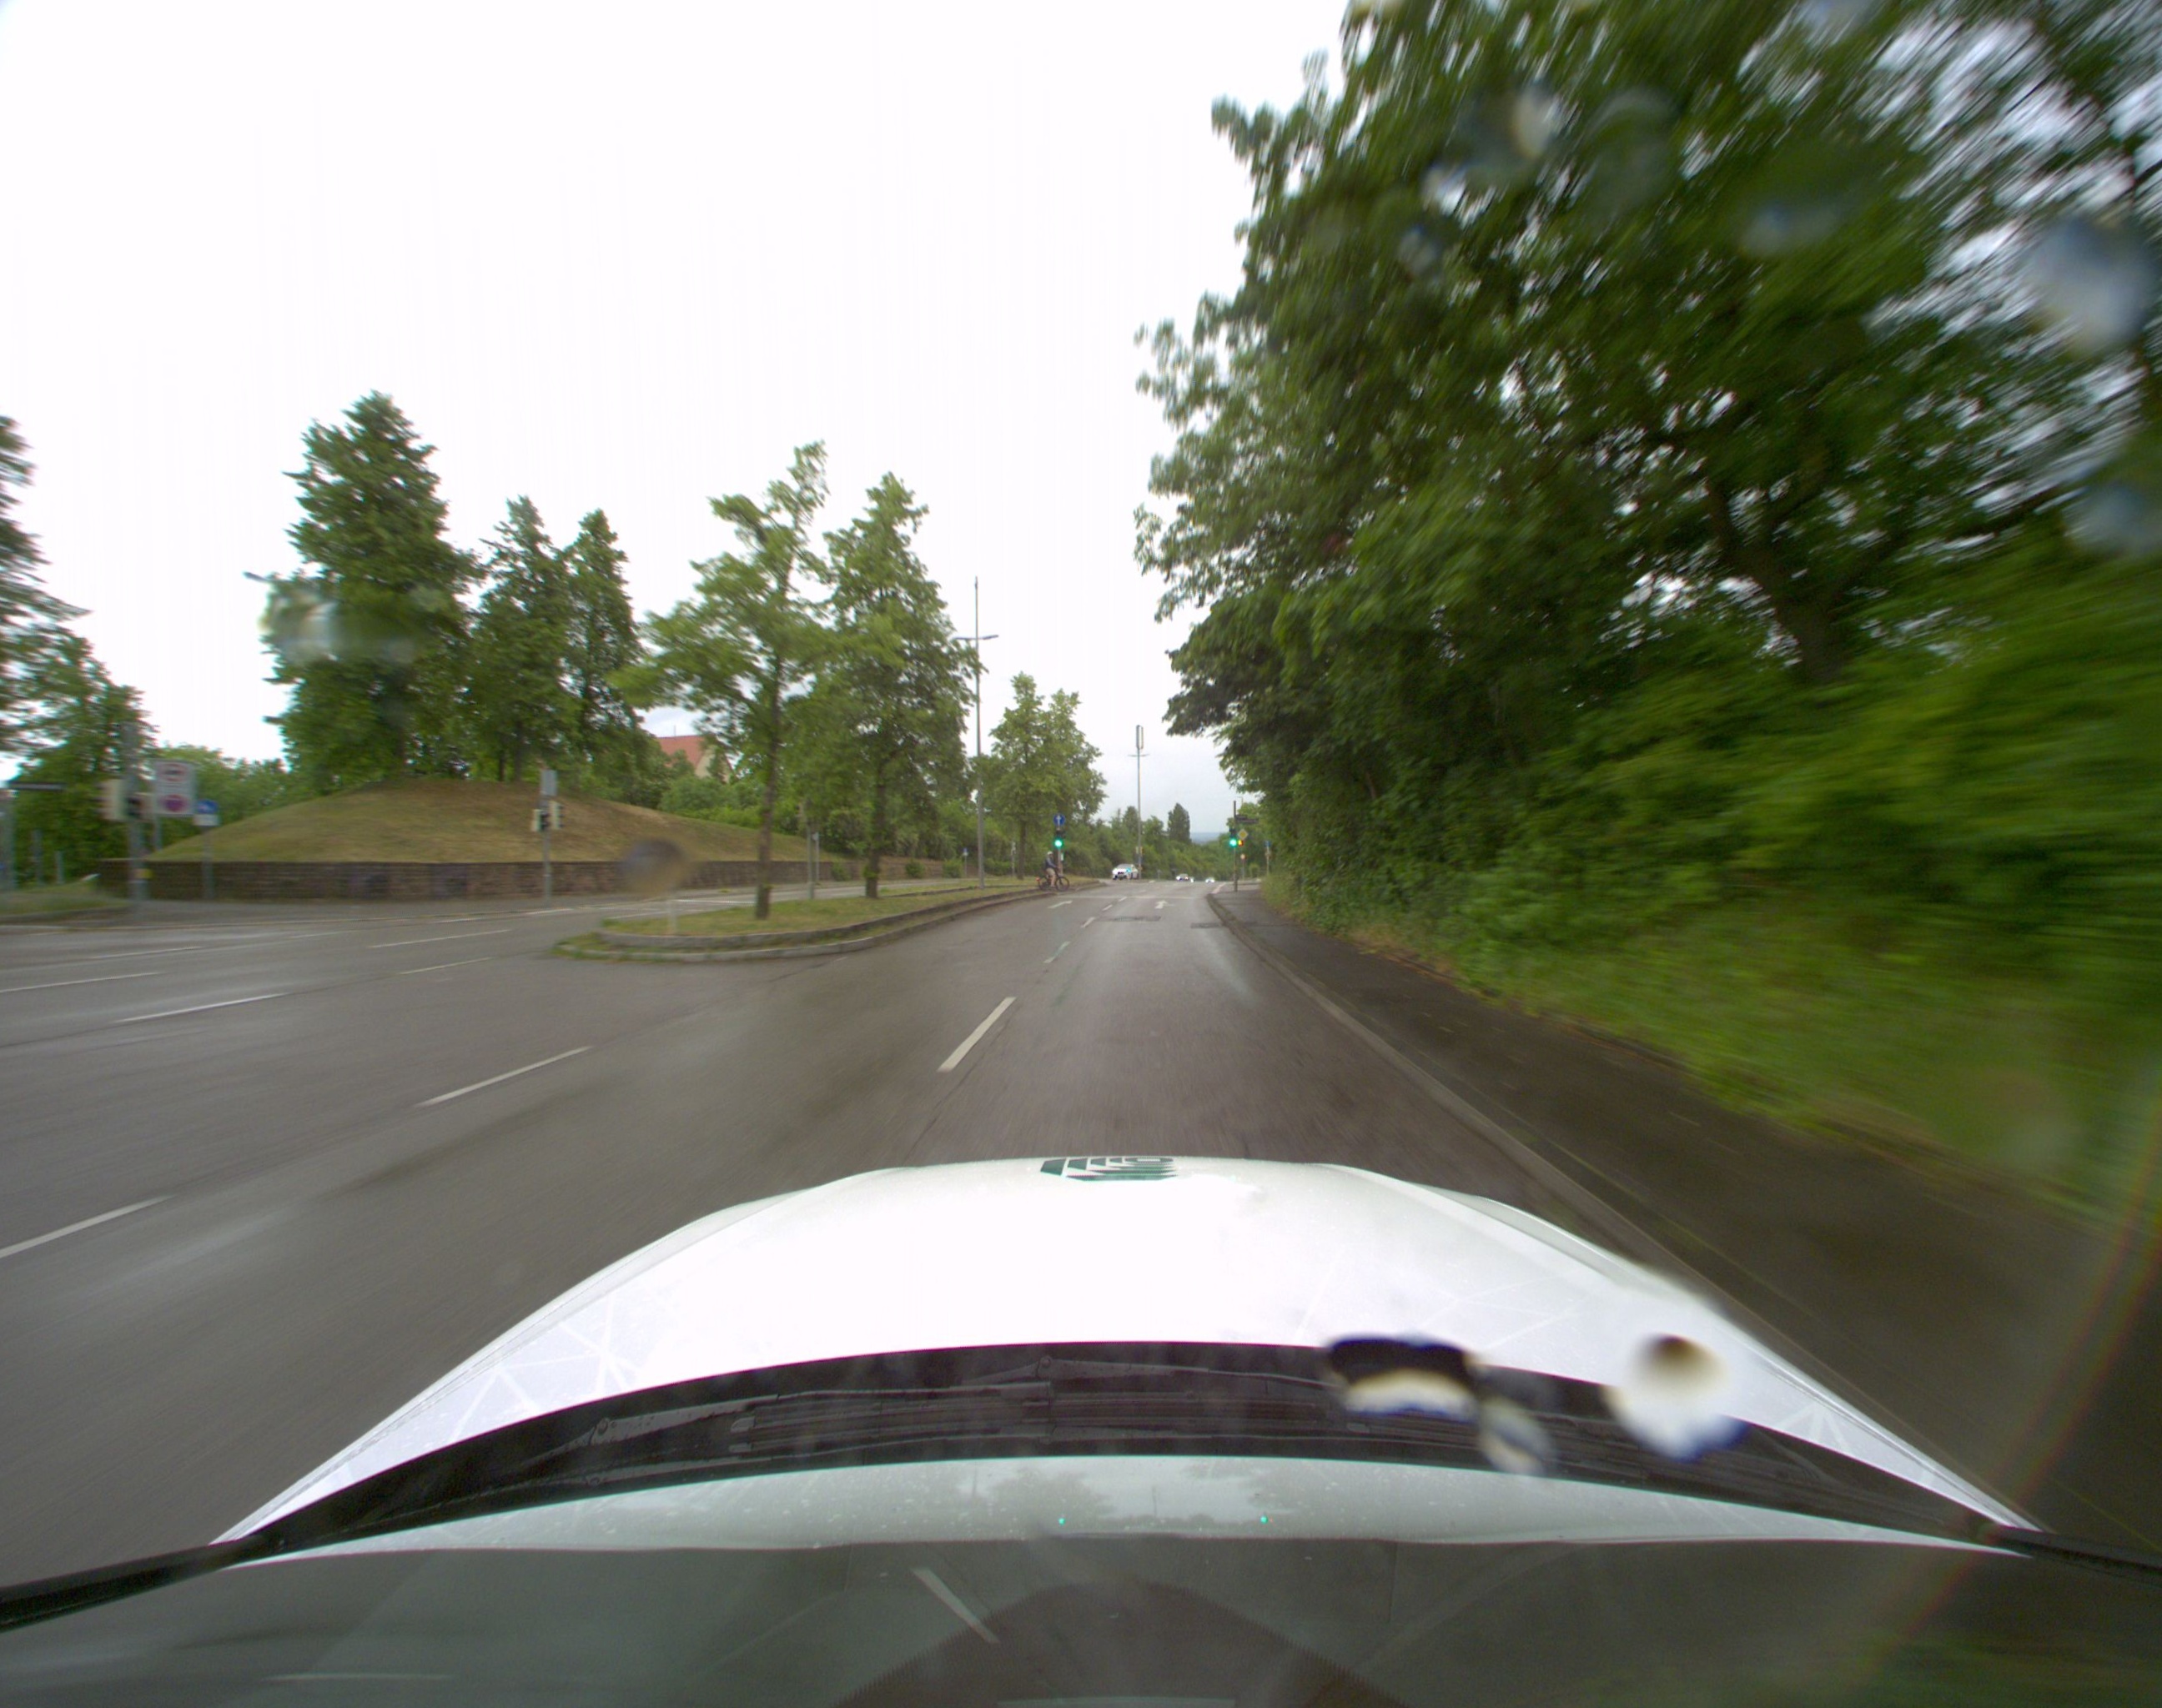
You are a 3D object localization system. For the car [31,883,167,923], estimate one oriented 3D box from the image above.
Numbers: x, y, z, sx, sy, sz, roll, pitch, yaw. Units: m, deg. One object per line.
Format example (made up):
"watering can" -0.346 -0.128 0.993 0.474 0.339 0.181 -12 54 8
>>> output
"car" -50.857 2.510 42.313 4.005 1.852 1.984 0 0 -24

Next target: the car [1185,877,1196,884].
"car" 23.490 5.617 174.985 1.806 1.438 4.471 0 -2 14

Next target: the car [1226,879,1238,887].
"car" 31.282 5.950 169.007 1.929 1.591 3.945 -1 -1 18

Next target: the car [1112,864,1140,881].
"car" 4.719 1.952 85.045 1.930 1.636 5.024 0 -2 15

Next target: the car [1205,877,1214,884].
"car" 31.959 6.532 202.405 1.711 1.591 4.015 0 -1 14

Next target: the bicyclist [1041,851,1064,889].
"bicyclist" -1.373 0.764 38.968 0.716 1.752 0.806 -5 -5 44

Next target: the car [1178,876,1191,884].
"car" 17.871 4.503 140.686 1.766 1.472 4.660 0 -2 13

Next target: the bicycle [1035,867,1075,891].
"bicycle" -1.242 1.180 38.970 0.547 1.143 2.152 -1 -2 44
